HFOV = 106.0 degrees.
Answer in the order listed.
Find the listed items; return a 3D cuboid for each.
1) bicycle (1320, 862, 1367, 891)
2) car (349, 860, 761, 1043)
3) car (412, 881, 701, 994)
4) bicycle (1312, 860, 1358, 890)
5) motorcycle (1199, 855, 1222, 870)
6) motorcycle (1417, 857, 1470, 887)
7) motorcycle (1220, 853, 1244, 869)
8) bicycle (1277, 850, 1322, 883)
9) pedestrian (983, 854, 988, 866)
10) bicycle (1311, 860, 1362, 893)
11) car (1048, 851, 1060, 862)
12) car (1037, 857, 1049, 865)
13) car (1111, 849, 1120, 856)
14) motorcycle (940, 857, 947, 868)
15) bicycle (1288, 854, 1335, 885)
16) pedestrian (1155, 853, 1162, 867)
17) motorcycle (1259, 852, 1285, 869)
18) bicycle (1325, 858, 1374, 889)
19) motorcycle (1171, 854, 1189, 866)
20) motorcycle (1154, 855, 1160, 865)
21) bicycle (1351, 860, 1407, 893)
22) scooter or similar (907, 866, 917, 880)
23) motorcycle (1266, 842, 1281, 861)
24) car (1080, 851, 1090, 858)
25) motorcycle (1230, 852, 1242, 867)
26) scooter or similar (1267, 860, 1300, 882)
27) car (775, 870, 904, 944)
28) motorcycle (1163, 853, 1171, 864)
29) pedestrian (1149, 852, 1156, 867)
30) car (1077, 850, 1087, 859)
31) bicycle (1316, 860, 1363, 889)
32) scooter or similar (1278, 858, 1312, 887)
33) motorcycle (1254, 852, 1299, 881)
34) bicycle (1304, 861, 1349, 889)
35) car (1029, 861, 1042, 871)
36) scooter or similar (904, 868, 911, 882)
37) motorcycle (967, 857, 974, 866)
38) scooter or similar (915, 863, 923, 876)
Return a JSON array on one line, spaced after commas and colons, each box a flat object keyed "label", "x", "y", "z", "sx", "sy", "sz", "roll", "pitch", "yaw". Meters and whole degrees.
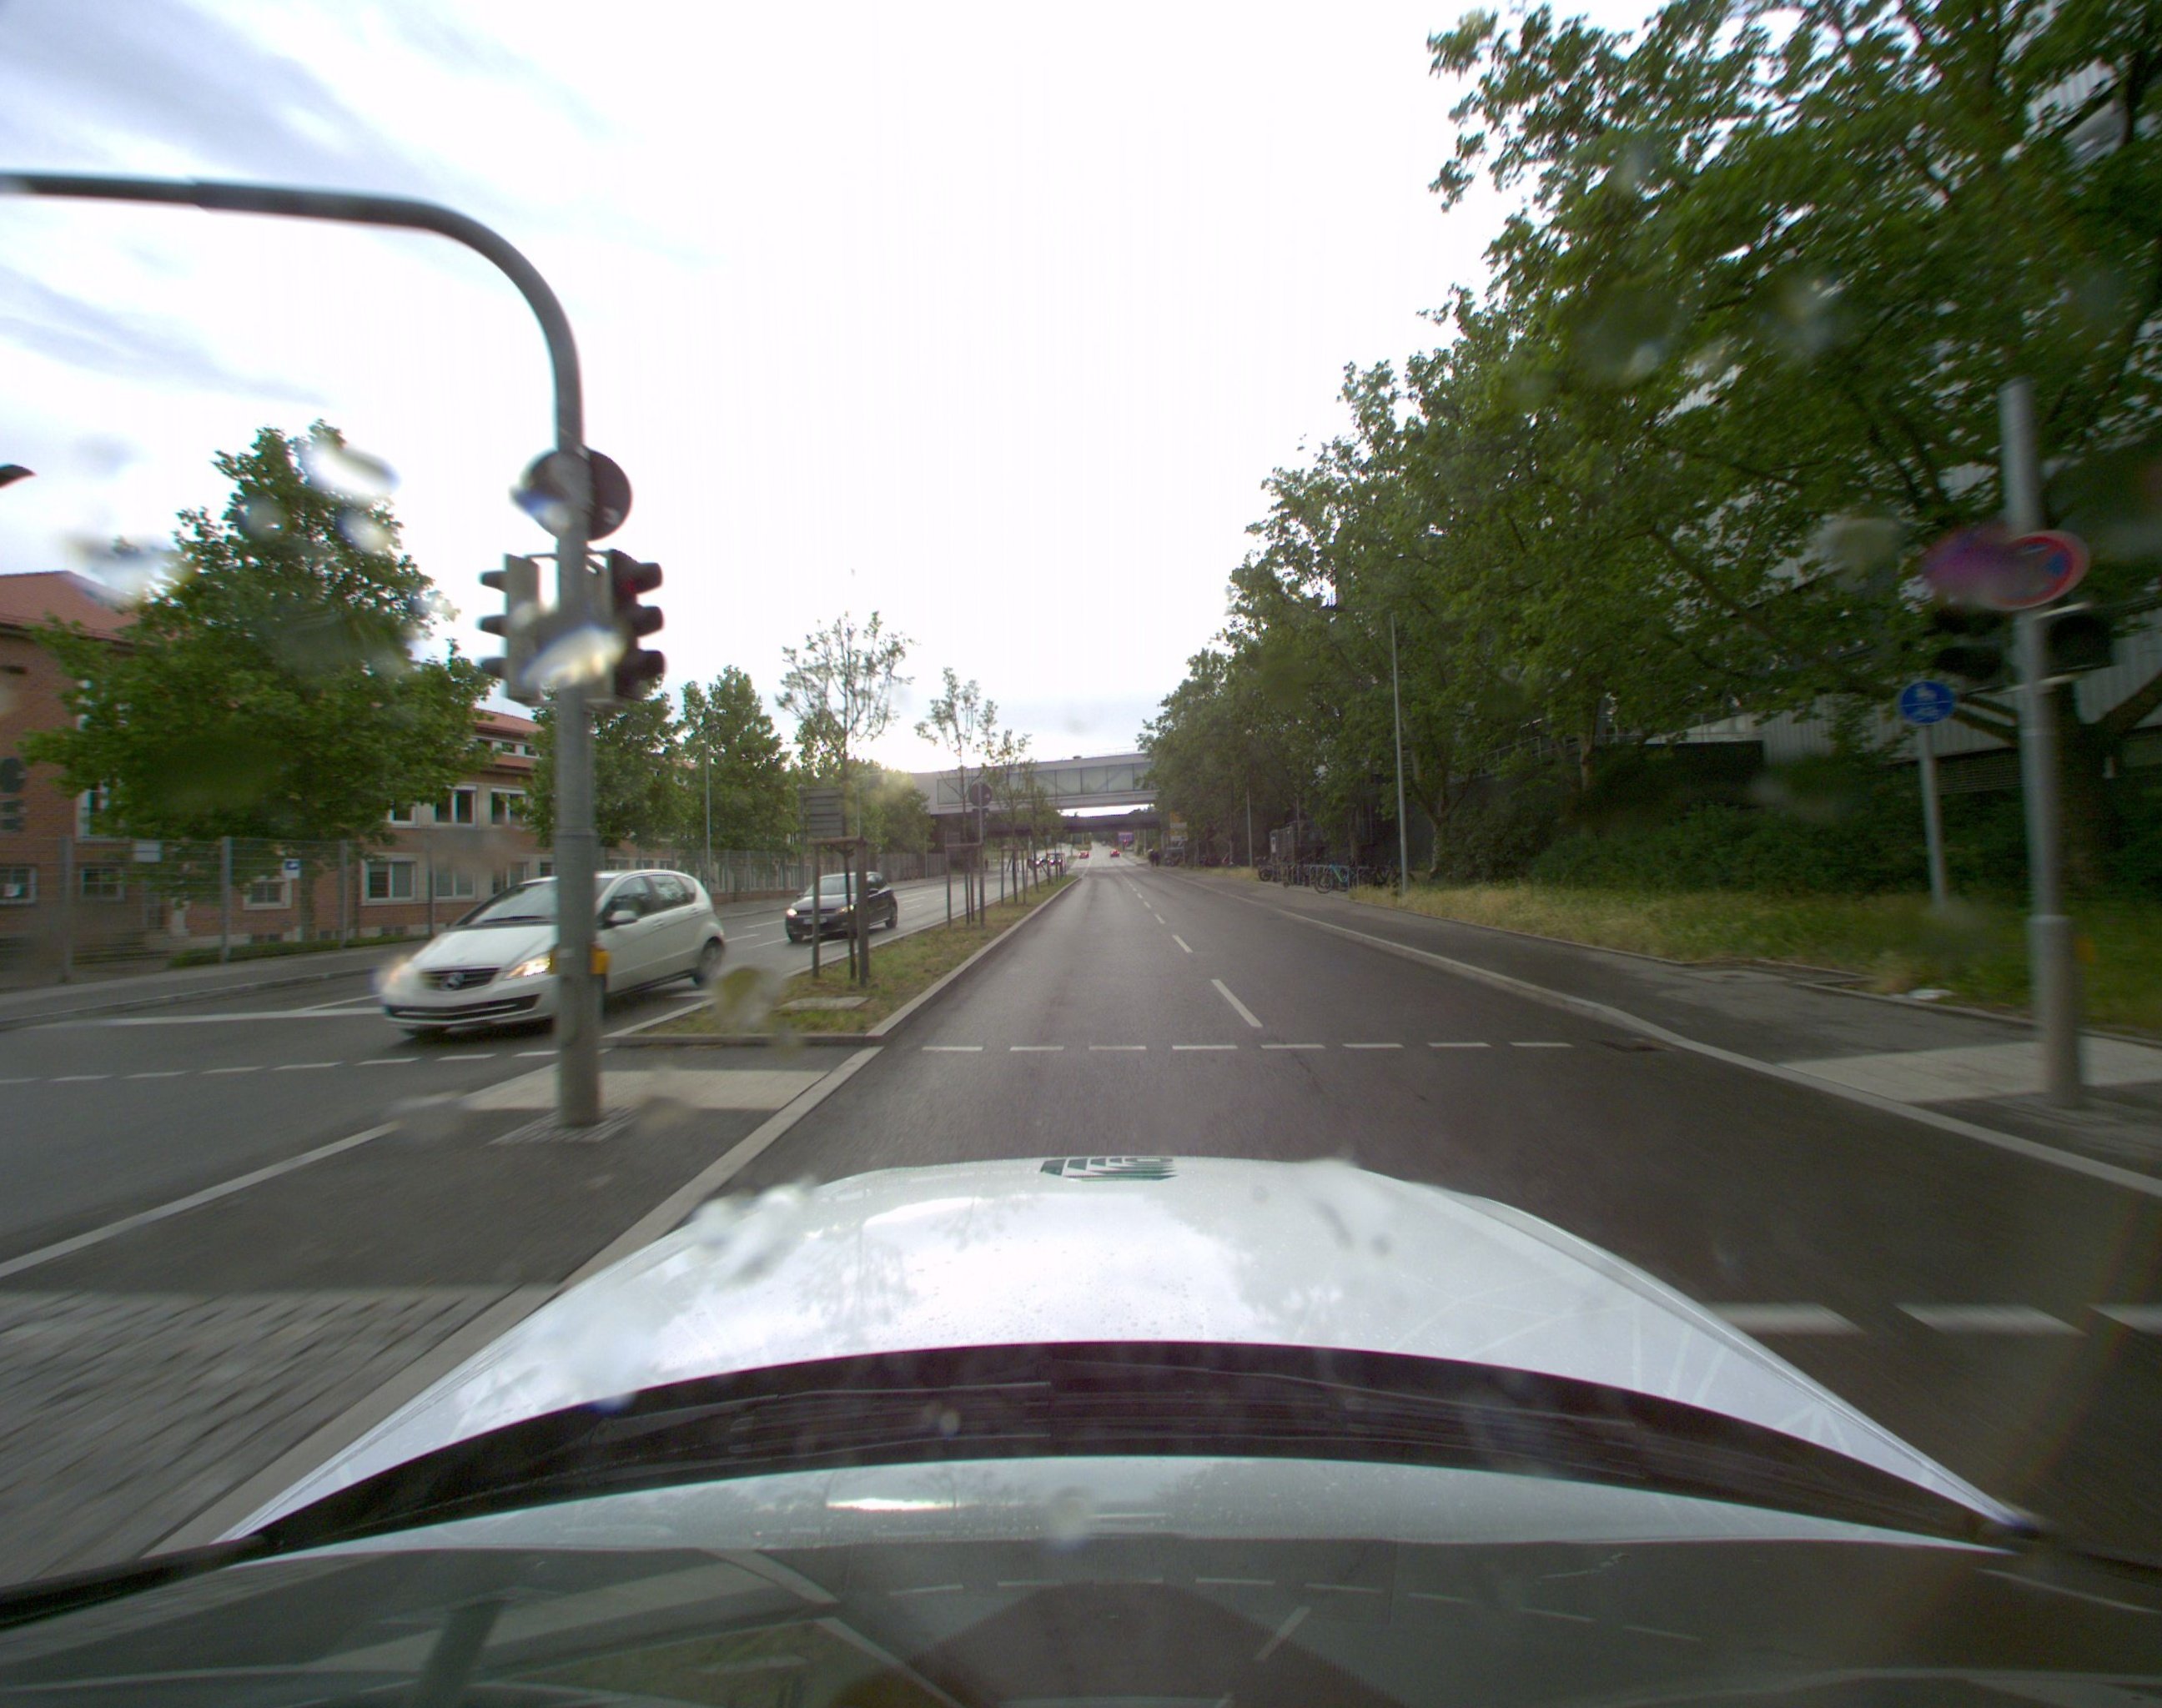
[{"label": "bicycle", "x": 9.474, "y": 0.801, "z": 29.427, "sx": 1.546, "sy": 0.958, "sz": 0.393, "roll": -3, "pitch": -1, "yaw": 0}, {"label": "car", "x": -5.730, "y": 0.931, "z": 9.722, "sx": 1.764, "sy": 1.589, "sz": 4.488, "roll": -3, "pitch": -1, "yaw": 3}, {"label": "car", "x": -8.544, "y": 1.265, "z": 13.890, "sx": 1.766, "sy": 1.404, "sz": 4.616, "roll": -3, "pitch": -1, "yaw": 2}, {"label": "bicycle", "x": 9.498, "y": 0.781, "z": 30.489, "sx": 1.546, "sy": 1.005, "sz": 0.393, "roll": -3, "pitch": -1, "yaw": 0}, {"label": "motorcycle", "x": 10.961, "y": 0.699, "z": 68.747, "sx": 1.851, "sy": 1.191, "sz": 0.519, "roll": -2, "pitch": 0, "yaw": -15}, {"label": "motorcycle", "x": 12.955, "y": 0.640, "z": 29.100, "sx": 1.602, "sy": 1.001, "sz": 0.577, "roll": -3, "pitch": -1, "yaw": 0}, {"label": "motorcycle", "x": 10.867, "y": 0.482, "z": 58.705, "sx": 1.643, "sy": 1.150, "sz": 0.494, "roll": 0, "pitch": -1, "yaw": 9}, {"label": "bicycle", "x": 9.521, "y": 0.540, "z": 35.522, "sx": 1.859, "sy": 1.348, "sz": 0.446, "roll": -3, "pitch": -1, "yaw": -12}, {"label": "pedestrian", "x": -13.766, "y": 0.879, "z": 117.627, "sx": 0.516, "sy": 1.816, "sz": 0.802, "roll": -2, "pitch": 0, "yaw": 11}, {"label": "bicycle", "x": 8.622, "y": 0.753, "z": 27.513, "sx": 1.546, "sy": 1.005, "sz": 0.393, "roll": -3, "pitch": -1, "yaw": 0}, {"label": "car", "x": -4.340, "y": 0.364, "z": 130.385, "sx": 1.579, "sy": 1.605, "sz": 3.856, "roll": -4, "pitch": -1, "yaw": 1}, {"label": "car", "x": -7.353, "y": 1.406, "z": 159.543, "sx": 2.057, "sy": 1.361, "sz": 4.756, "roll": -3, "pitch": 0, "yaw": 0}, {"label": "car", "x": 7.303, "y": -0.292, "z": 174.743, "sx": 1.739, "sy": 1.470, "sz": 4.166, "roll": -2, "pitch": 1, "yaw": 0}, {"label": "motorcycle", "x": -16.459, "y": 1.037, "z": 97.421, "sx": 0.467, "sy": 1.205, "sz": 1.997, "roll": -3, "pitch": 0, "yaw": 1}, {"label": "bicycle", "x": 9.557, "y": 0.637, "z": 33.733, "sx": 1.785, "sy": 1.167, "sz": 0.447, "roll": -3, "pitch": -1, "yaw": -5}, {"label": "pedestrian", "x": 8.780, "y": 0.673, "z": 92.657, "sx": 0.646, "sy": 1.596, "sz": 0.580, "roll": -3, "pitch": -1, "yaw": 12}, {"label": "motorcycle", "x": 14.513, "y": 0.505, "z": 61.834, "sx": 1.904, "sy": 1.258, "sz": 0.492, "roll": 0, "pitch": -1, "yaw": 7}, {"label": "bicycle", "x": 9.390, "y": 0.692, "z": 28.507, "sx": 1.546, "sy": 1.005, "sz": 0.393, "roll": -3, "pitch": -1, "yaw": 0}, {"label": "motorcycle", "x": 11.190, "y": 0.684, "z": 92.020, "sx": 1.919, "sy": 1.297, "sz": 0.551, "roll": -3, "pitch": -1, "yaw": 36}, {"label": "motorcycle", "x": 8.625, "y": 0.719, "z": 92.734, "sx": 0.468, "sy": 1.136, "sz": 1.819, "roll": -3, "pitch": 0, "yaw": 1}, {"label": "bicycle", "x": 9.395, "y": 0.710, "z": 25.702, "sx": 1.602, "sy": 0.939, "sz": 0.387, "roll": -3, "pitch": -1, "yaw": 1}, {"label": "scooter or similar", "x": -16.156, "y": 1.807, "z": 77.920, "sx": 0.309, "sy": 1.218, "sz": 1.312, "roll": -3, "pitch": 0, "yaw": 13}, {"label": "motorcycle", "x": 14.077, "y": -0.141, "z": 59.632, "sx": 0.504, "sy": 1.365, "sz": 1.498, "roll": 0, "pitch": -1, "yaw": -9}, {"label": "car", "x": 0.921, "y": 0.200, "z": 185.726, "sx": 2.157, "sy": 1.583, "sz": 4.667, "roll": 0, "pitch": -1, "yaw": 3}, {"label": "motorcycle", "x": 13.995, "y": 0.501, "z": 73.578, "sx": 0.643, "sy": 1.279, "sz": 1.991, "roll": -2, "pitch": -1, "yaw": 1}, {"label": "scooter or similar", "x": 9.400, "y": 0.789, "z": 37.765, "sx": 1.476, "sy": 0.937, "sz": 0.364, "roll": -3, "pitch": -1, "yaw": -16}, {"label": "car", "x": -5.427, "y": 1.141, "z": 18.861, "sx": 1.572, "sy": 1.404, "sz": 4.113, "roll": -3, "pitch": -1, "yaw": 2}, {"label": "motorcycle", "x": 9.853, "y": 0.498, "z": 93.169, "sx": 0.469, "sy": 1.213, "sz": 1.941, "roll": -3, "pitch": 0, "yaw": -5}, {"label": "pedestrian", "x": 8.126, "y": 0.624, "z": 92.929, "sx": 0.607, "sy": 1.721, "sz": 0.894, "roll": -3, "pitch": -1, "yaw": 11}, {"label": "car", "x": 0.247, "y": 0.128, "z": 175.357, "sx": 2.070, "sy": 1.718, "sz": 4.196, "roll": 0, "pitch": -1, "yaw": -1}, {"label": "bicycle", "x": 9.478, "y": 0.748, "z": 29.846, "sx": 1.546, "sy": 0.958, "sz": 0.393, "roll": -3, "pitch": -1, "yaw": 0}, {"label": "scooter or similar", "x": 8.513, "y": 0.744, "z": 32.440, "sx": 1.210, "sy": 1.091, "sz": 0.312, "roll": -3, "pitch": -1, "yaw": -4}, {"label": "motorcycle", "x": 9.395, "y": 0.609, "z": 39.175, "sx": 1.994, "sy": 1.273, "sz": 0.443, "roll": -3, "pitch": -1, "yaw": 13}, {"label": "bicycle", "x": 9.439, "y": 0.809, "z": 31.310, "sx": 1.546, "sy": 1.005, "sz": 0.393, "roll": -3, "pitch": -1, "yaw": 0}, {"label": "car", "x": -7.006, "y": 1.801, "z": 125.291, "sx": 1.710, "sy": 1.437, "sz": 3.771, "roll": -4, "pitch": -1, "yaw": 0}, {"label": "scooter or similar", "x": -16.171, "y": 1.939, "z": 75.777, "sx": 0.310, "sy": 1.218, "sz": 1.308, "roll": -3, "pitch": 0, "yaw": 1}, {"label": "motorcycle", "x": -15.181, "y": 1.055, "z": 112.205, "sx": 0.466, "sy": 1.158, "sz": 1.934, "roll": -3, "pitch": 0, "yaw": 4}, {"label": "scooter or similar", "x": -16.053, "y": 1.562, "z": 80.706, "sx": 0.310, "sy": 1.218, "sz": 1.310, "roll": -3, "pitch": 0, "yaw": 6}]
